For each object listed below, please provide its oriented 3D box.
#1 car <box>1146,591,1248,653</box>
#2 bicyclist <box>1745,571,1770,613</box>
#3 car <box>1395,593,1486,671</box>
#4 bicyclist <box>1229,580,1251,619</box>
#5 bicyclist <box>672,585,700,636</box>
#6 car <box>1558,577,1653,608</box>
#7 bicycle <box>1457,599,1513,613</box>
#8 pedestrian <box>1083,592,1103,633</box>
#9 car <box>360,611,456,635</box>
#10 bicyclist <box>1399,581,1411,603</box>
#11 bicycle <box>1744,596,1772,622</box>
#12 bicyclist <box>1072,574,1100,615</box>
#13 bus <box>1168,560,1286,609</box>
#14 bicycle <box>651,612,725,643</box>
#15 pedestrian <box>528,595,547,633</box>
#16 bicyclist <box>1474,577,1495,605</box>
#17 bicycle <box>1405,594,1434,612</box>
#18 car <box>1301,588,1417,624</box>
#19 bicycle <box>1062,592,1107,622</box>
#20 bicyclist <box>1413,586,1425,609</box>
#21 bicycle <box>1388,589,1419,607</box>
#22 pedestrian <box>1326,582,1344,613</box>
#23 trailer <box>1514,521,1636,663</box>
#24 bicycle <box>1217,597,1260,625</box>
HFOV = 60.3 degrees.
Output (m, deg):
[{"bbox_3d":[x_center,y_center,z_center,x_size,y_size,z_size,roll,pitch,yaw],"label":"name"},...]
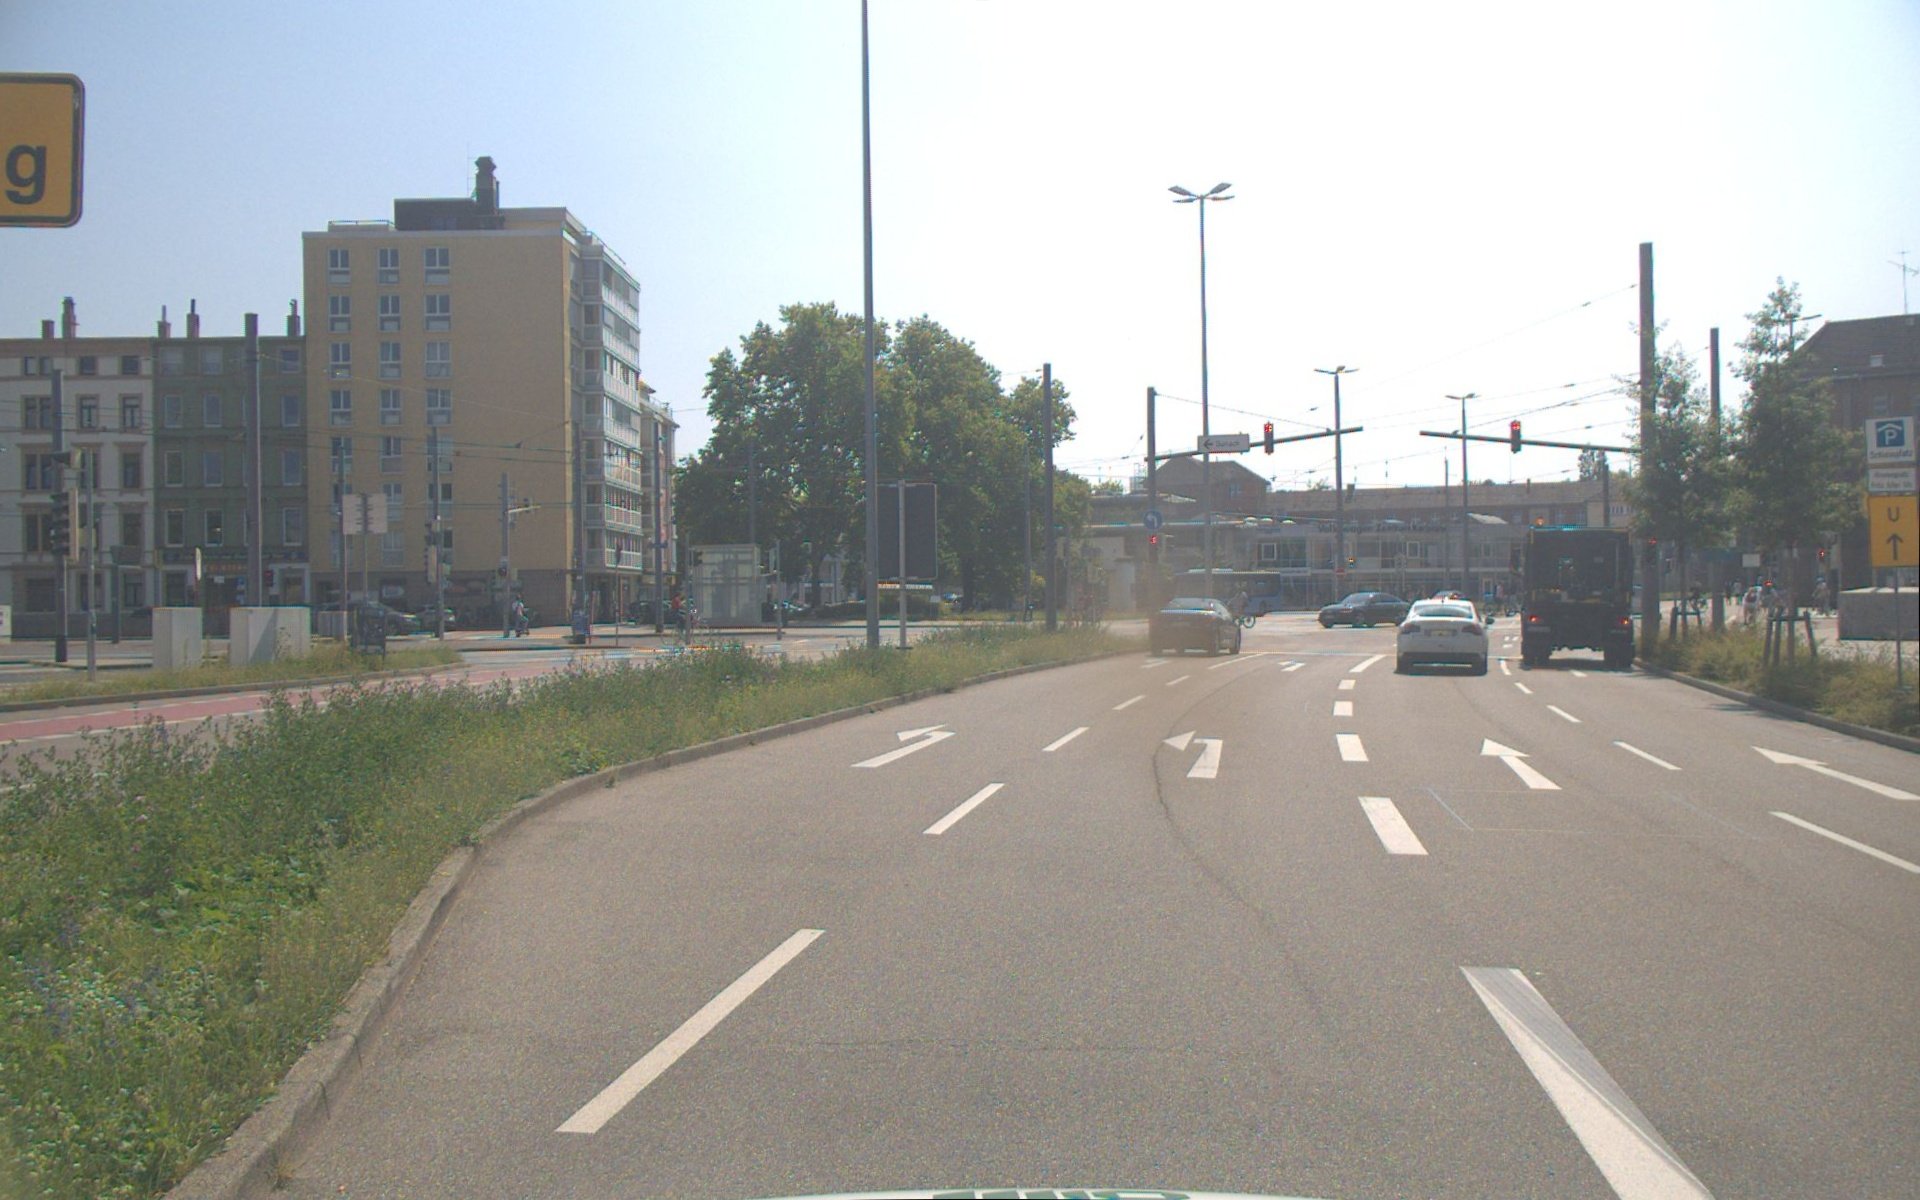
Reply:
[{"bbox_3d":[6.007,0.518,41.617,1.722,1.429,3.981,0,1,21],"label":"car"},{"bbox_3d":[25.769,-0.272,53.454,0.661,1.343,0.683,-1,0,23],"label":"bicyclist"},{"bbox_3d":[10.166,0.613,34.827,1.721,1.480,4.428,0,1,18],"label":"car"},{"bbox_3d":[12.218,-0.009,72.110,0.614,1.679,0.683,-1,0,-40],"label":"bicyclist"},{"bbox_3d":[-9.198,0.345,55.555,0.821,1.671,0.607,-1,-1,-1],"label":"bicyclist"},{"bbox_3d":[31.124,-0.357,79.785,3.986,1.450,1.769,-1,0,-15],"label":"car"},{"bbox_3d":[29.709,0.330,93.586,2.875,0.740,0.864,-1,0,-2],"label":"bicycle"},{"bbox_3d":[4.227,0.392,52.544,0.583,1.290,0.505,-1,2,-1],"label":"pedestrian"},{"bbox_3d":[-24.988,1.018,74.942,3.807,1.004,1.714,-1,0,-5],"label":"car"},{"bbox_3d":[24.671,-0.432,91.763,0.494,1.209,0.506,-1,0,34],"label":"bicyclist"},{"bbox_3d":[25.799,0.279,53.501,0.661,0.790,2.127,-1,0,22],"label":"bicycle"},{"bbox_3d":[5.190,-0.237,68.165,0.956,1.683,0.659,-1,0,-16],"label":"bicyclist"},{"bbox_3d":[17.346,-1.020,106.638,2.999,2.982,11.819,0,1,33],"label":"bus"},{"bbox_3d":[-9.139,0.920,55.544,2.360,0.970,0.604,-1,0,-1],"label":"bicycle"},{"bbox_3d":[-18.738,0.636,73.336,0.635,1.661,0.814,-1,0,0],"label":"pedestrian"},{"bbox_3d":[29.692,-0.502,93.575,0.885,1.527,0.864,-1,0,-1],"label":"bicyclist"},{"bbox_3d":[25.876,0.147,93.239,1.557,1.002,0.507,-1,0,14],"label":"bicycle"},{"bbox_3d":[16.914,0.245,70.067,4.486,1.463,1.987,-1,0,-22],"label":"car"},{"bbox_3d":[5.120,0.267,68.429,0.956,1.199,2.820,-1,0,-15],"label":"bicycle"},{"bbox_3d":[25.871,-0.139,93.235,0.581,1.269,0.507,-1,0,14],"label":"bicyclist"},{"bbox_3d":[24.612,-0.108,91.804,1.563,1.002,0.506,0,0,34],"label":"bicycle"},{"bbox_3d":[21.757,-0.120,95.933,0.769,1.782,0.807,-1,0,32],"label":"pedestrian"},{"bbox_3d":[14.429,-0.235,39.156,2.411,3.060,6.328,1,1,18],"label":"trailer"},{"bbox_3d":[12.144,0.472,72.044,2.025,1.156,0.688,-1,0,-40],"label":"bicycle"}]
